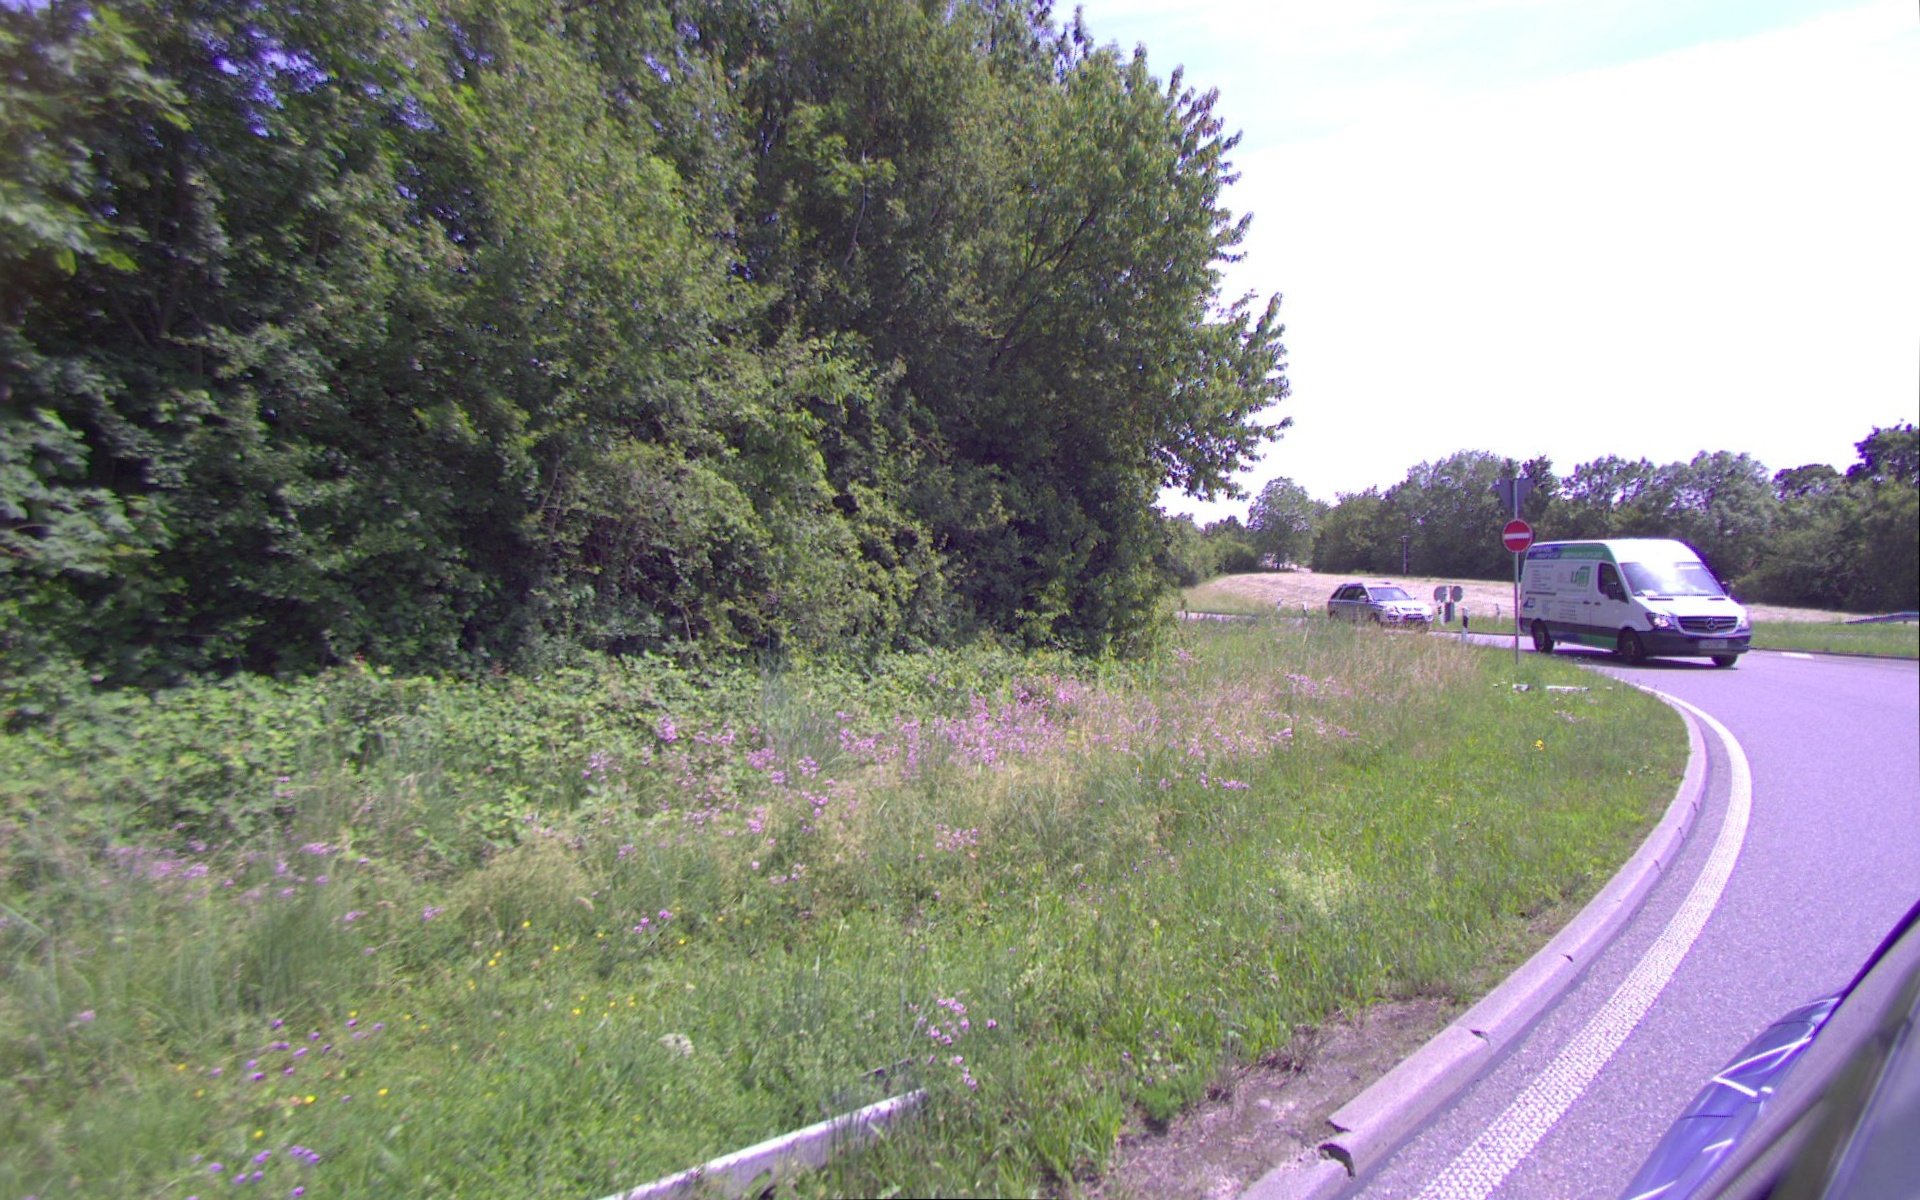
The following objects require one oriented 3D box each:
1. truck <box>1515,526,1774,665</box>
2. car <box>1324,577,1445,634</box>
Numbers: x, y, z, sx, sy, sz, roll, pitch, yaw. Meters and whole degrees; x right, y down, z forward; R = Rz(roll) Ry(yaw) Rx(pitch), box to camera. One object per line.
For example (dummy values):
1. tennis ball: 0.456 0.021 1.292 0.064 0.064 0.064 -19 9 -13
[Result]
1. truck: 14.576 -0.139 22.116 1.964 2.618 5.882 0 1 4
2. car: 14.184 0.161 34.060 1.812 1.730 4.095 -2 0 -9
